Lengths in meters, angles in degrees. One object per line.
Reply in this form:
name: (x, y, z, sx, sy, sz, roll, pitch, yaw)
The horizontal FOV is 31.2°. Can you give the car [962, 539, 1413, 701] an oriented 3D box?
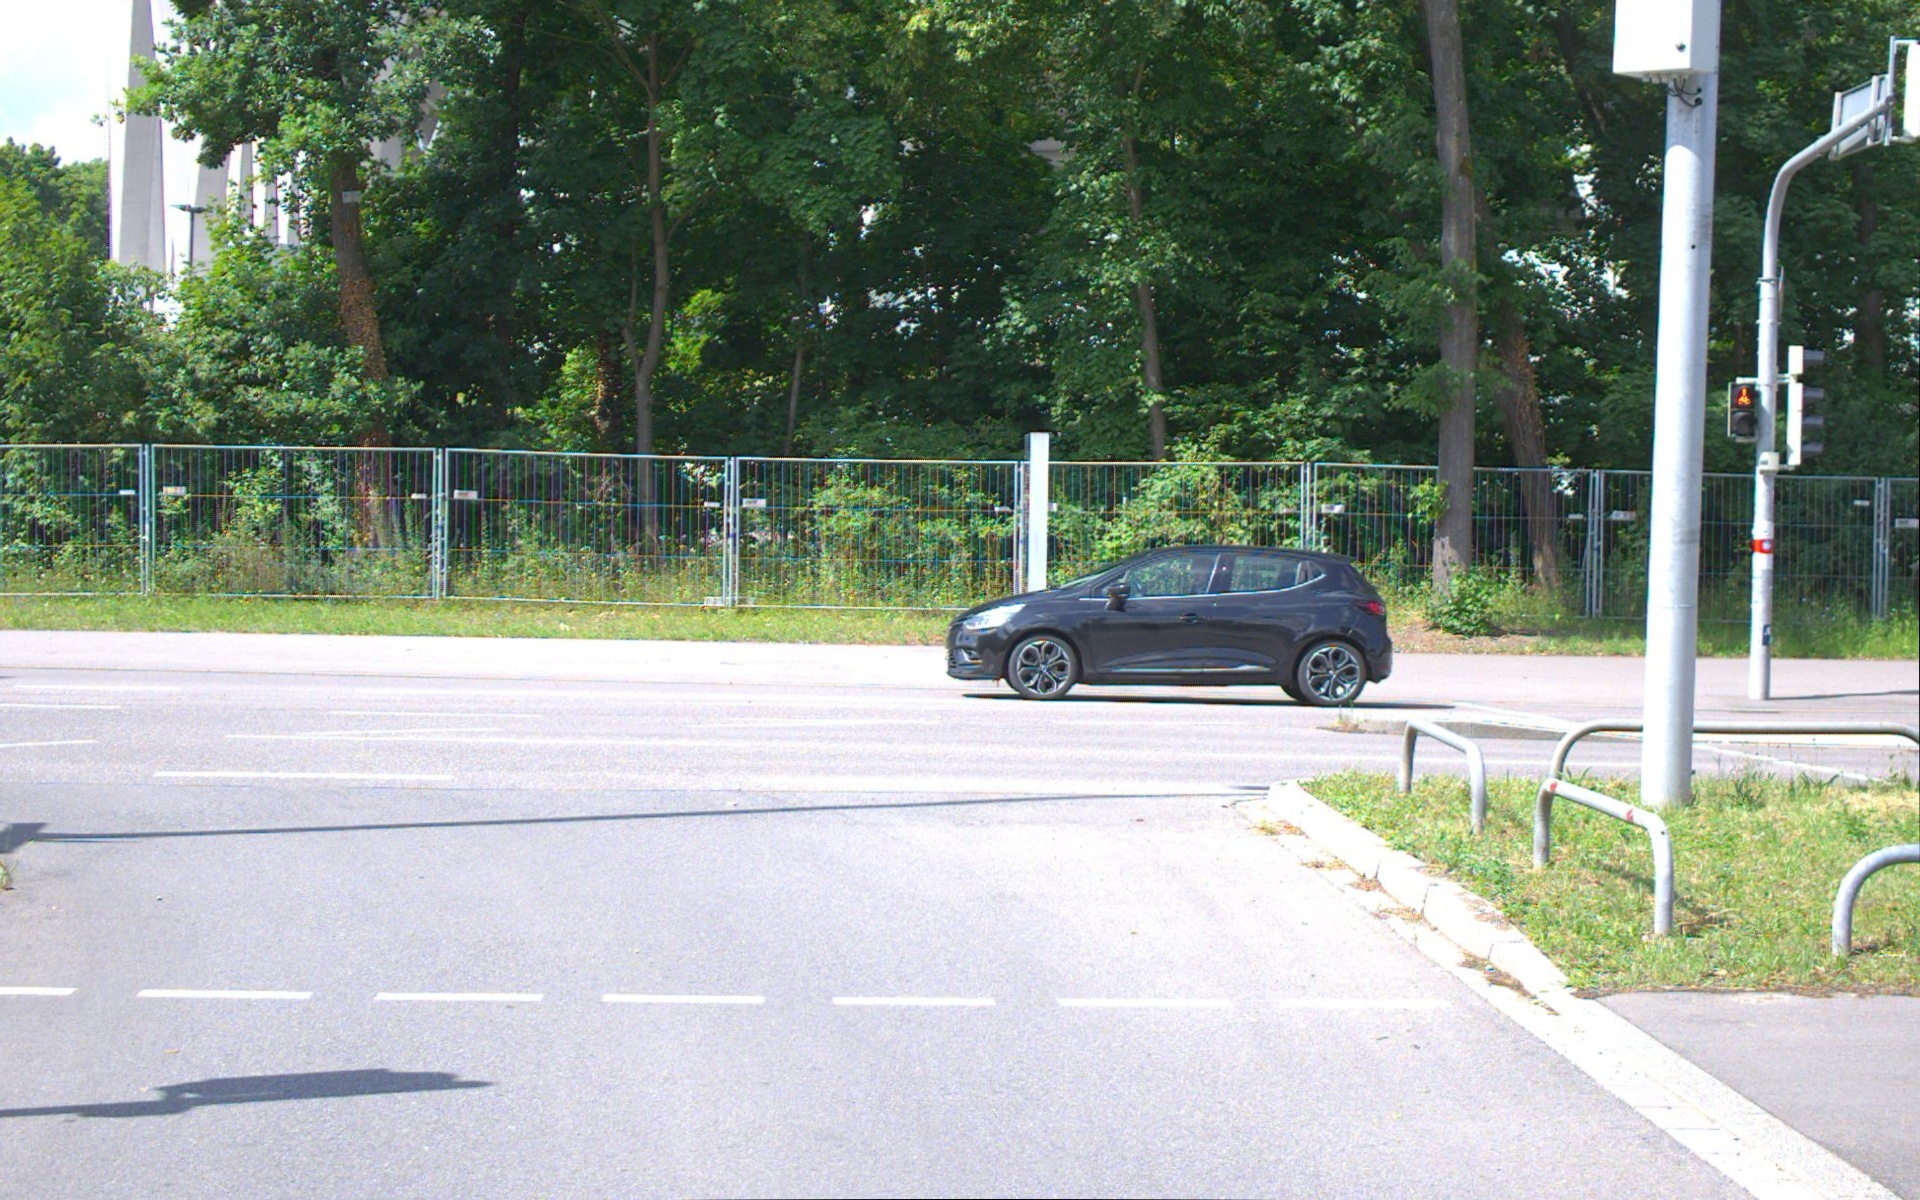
car: (2.016, 0.169, 31.257, 3.962, 1.373, 1.603, 1, 0, 0)
